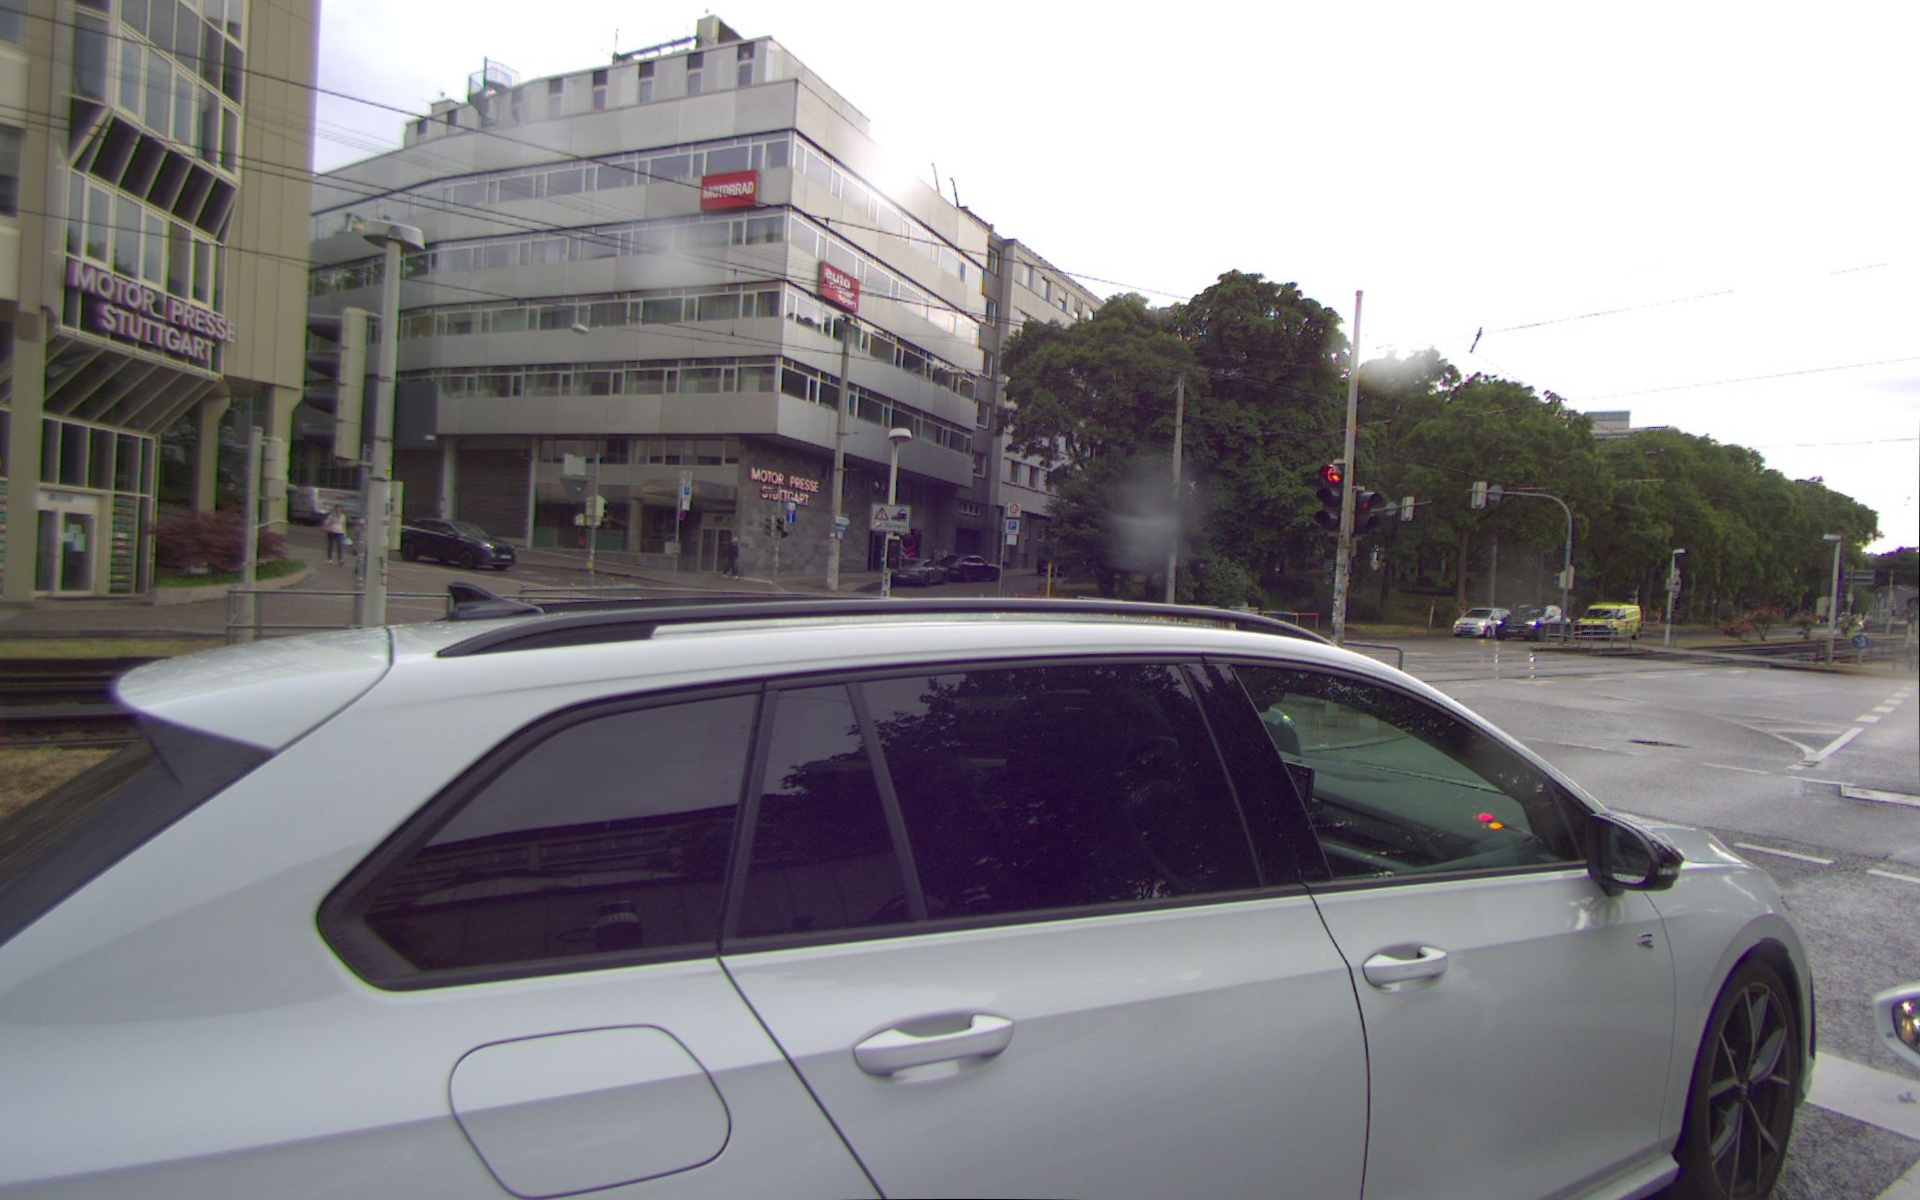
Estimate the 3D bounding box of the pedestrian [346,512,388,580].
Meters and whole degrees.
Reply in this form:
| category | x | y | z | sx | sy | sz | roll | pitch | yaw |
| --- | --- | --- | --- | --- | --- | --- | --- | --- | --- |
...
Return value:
| category | x | y | z | sx | sy | sz | roll | pitch | yaw |
| --- | --- | --- | --- | --- | --- | --- | --- | --- | --- |
| pedestrian | -16.510 | -1.493 | 27.948 | 0.825 | 1.811 | 0.751 | 2 | 3 | -41 |

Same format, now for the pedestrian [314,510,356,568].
| category | x | y | z | sx | sy | sz | roll | pitch | yaw |
| --- | --- | --- | --- | --- | --- | --- | --- | --- | --- |
| pedestrian | -18.470 | -1.797 | 29.694 | 0.746 | 1.661 | 0.719 | 5 | 2 | 25 |

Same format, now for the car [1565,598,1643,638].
| category | x | y | z | sx | sy | sz | roll | pitch | yaw |
| --- | --- | --- | --- | --- | --- | --- | --- | --- | --- |
| car | 33.206 | 0.958 | 51.729 | 4.525 | 1.875 | 1.905 | 2 | 1 | -38 |

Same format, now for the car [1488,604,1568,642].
| category | x | y | z | sx | sy | sz | roll | pitch | yaw |
| --- | --- | --- | --- | --- | --- | --- | --- | --- | --- |
| car | 26.312 | 1.081 | 46.532 | 3.648 | 1.566 | 1.905 | 2 | 1 | -37 |

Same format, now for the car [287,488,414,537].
| category | x | y | z | sx | sy | sz | roll | pitch | yaw |
| --- | --- | --- | --- | --- | --- | --- | --- | --- | --- |
| car | -32.035 | -4.540 | 52.992 | 1.964 | 2.040 | 5.403 | 2 | 0 | 30 |

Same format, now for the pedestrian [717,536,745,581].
| category | x | y | z | sx | sy | sz | roll | pitch | yaw |
| --- | --- | --- | --- | --- | --- | --- | --- | --- | --- |
| pedestrian | -10.001 | -1.804 | 43.947 | 0.833 | 1.886 | 0.719 | 5 | 2 | 25 |

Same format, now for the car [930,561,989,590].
| category | x | y | z | sx | sy | sz | roll | pitch | yaw |
| --- | --- | --- | --- | --- | --- | --- | --- | --- | --- |
| car | 0.027 | -1.352 | 55.582 | 1.842 | 1.450 | 3.998 | 3 | 2 | 22 |

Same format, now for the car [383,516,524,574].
| category | x | y | z | sx | sy | sz | roll | pitch | yaw |
| --- | --- | --- | --- | --- | --- | --- | --- | --- | --- |
| car | -18.823 | -2.044 | 37.320 | 4.794 | 1.601 | 1.999 | 7 | 3 | 23 |

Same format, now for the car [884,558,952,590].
| category | x | y | z | sx | sy | sz | roll | pitch | yaw |
| --- | --- | --- | --- | --- | --- | --- | --- | --- | --- |
| car | -2.063 | -1.292 | 50.608 | 1.842 | 1.450 | 4.091 | 3 | 2 | 22 |

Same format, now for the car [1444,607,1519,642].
| category | x | y | z | sx | sy | sz | roll | pitch | yaw |
| --- | --- | --- | --- | --- | --- | --- | --- | --- | --- |
| car | 26.059 | 1.213 | 50.184 | 3.648 | 1.566 | 1.905 | 2 | 1 | -37 |

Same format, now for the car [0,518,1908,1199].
| category | x | y | z | sx | sy | sz | roll | pitch | yaw |
| --- | --- | --- | --- | --- | --- | --- | --- | --- | --- |
| car | 0.297 | 0.706 | 2.471 | 4.423 | 1.461 | 1.787 | 2 | 0 | -30 |

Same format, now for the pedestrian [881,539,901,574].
| category | x | y | z | sx | sy | sz | roll | pitch | yaw |
| --- | --- | --- | --- | --- | --- | --- | --- | --- | --- |
| pedestrian | -3.781 | -2.366 | 54.785 | 0.707 | 1.886 | 0.758 | 5 | 4 | 31 |

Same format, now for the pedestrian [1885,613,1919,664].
| category | x | y | z | sx | sy | sz | roll | pitch | yaw |
| --- | --- | --- | --- | --- | --- | --- | --- | --- | --- |
| pedestrian | 35.232 | 1.441 | 37.509 | 0.862 | 1.826 | 0.860 | 1 | 3 | -45 |

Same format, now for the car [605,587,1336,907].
| category | x | y | z | sx | sy | sz | roll | pitch | yaw |
| --- | --- | --- | --- | --- | --- | --- | --- | --- | --- |
| car | 0.193 | 0.722 | 6.484 | 4.423 | 1.461 | 1.787 | 2 | 0 | -30 |
